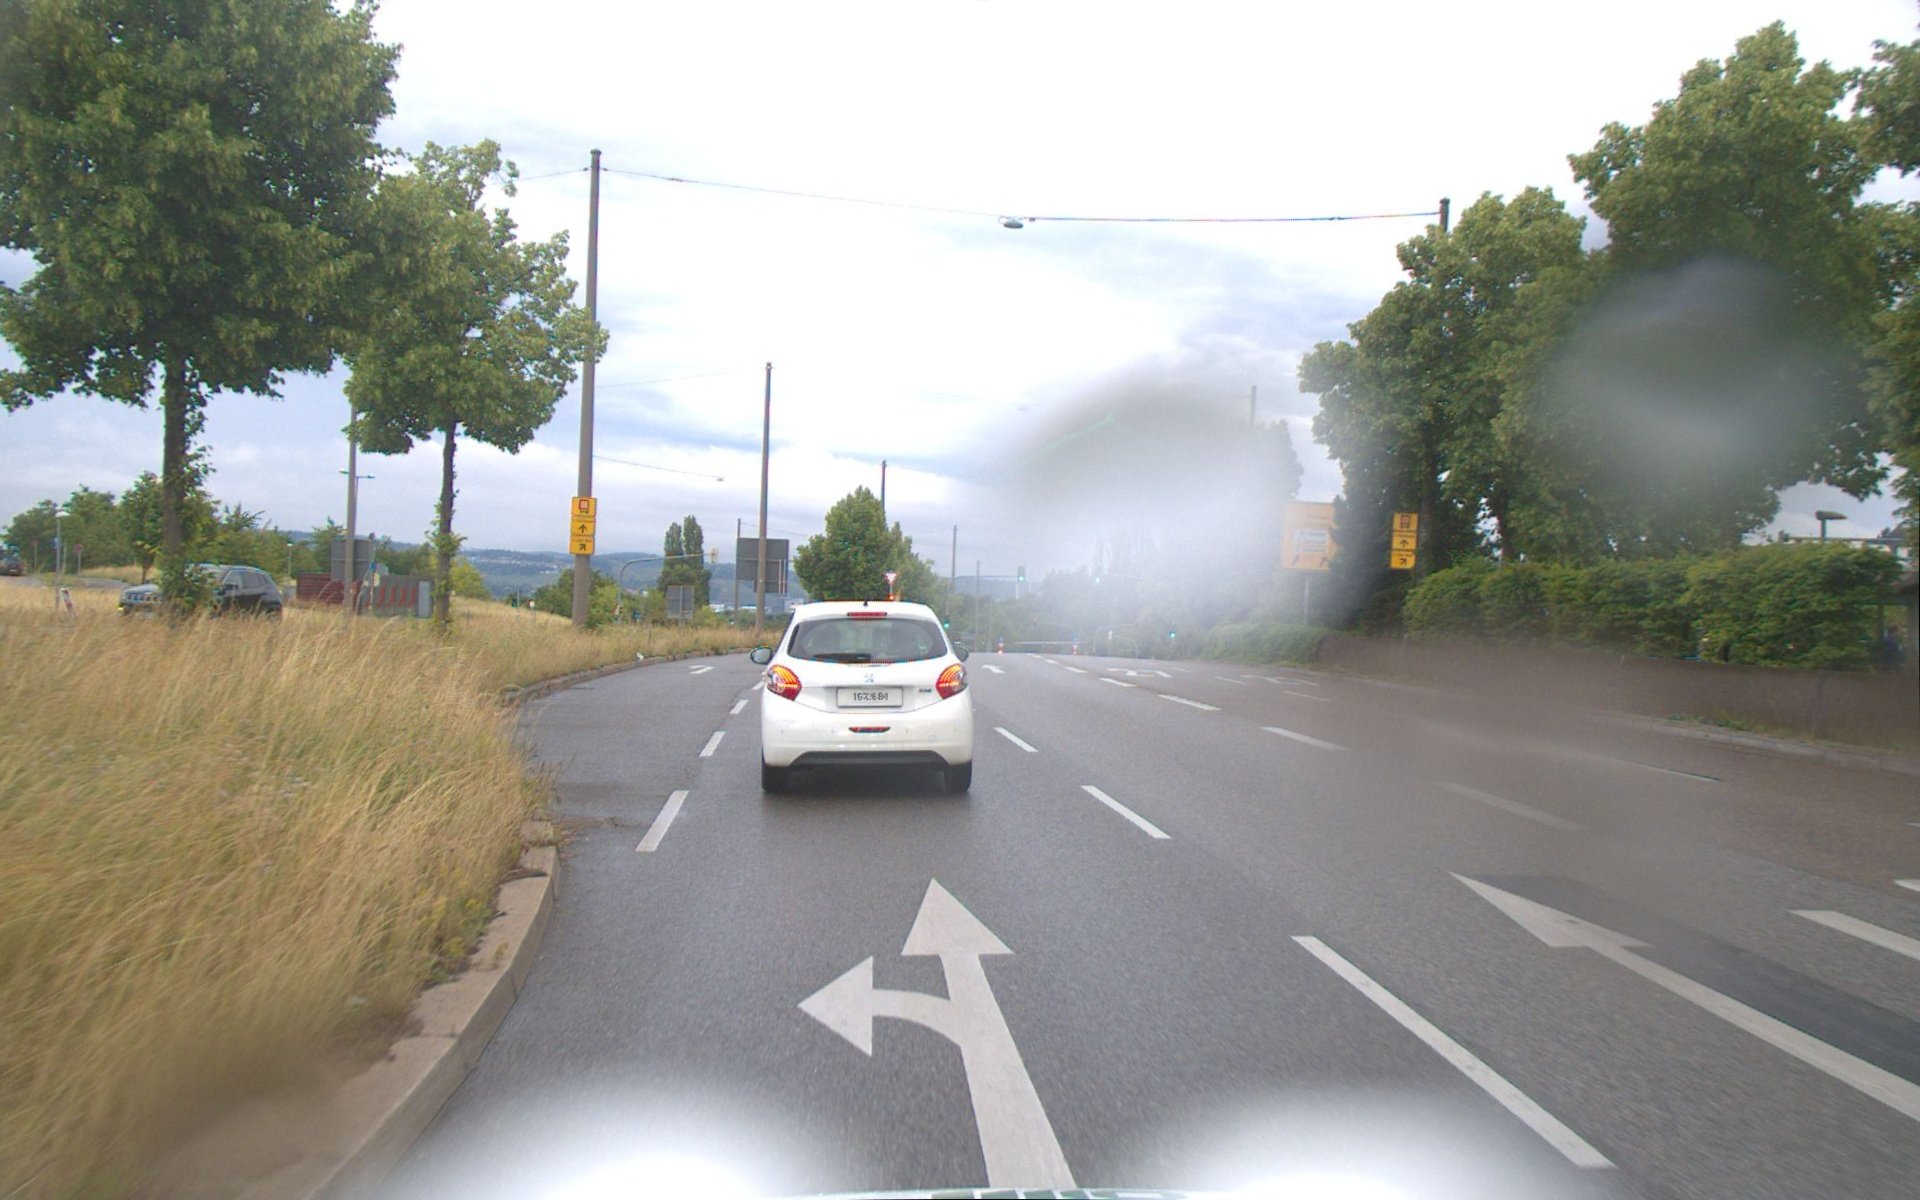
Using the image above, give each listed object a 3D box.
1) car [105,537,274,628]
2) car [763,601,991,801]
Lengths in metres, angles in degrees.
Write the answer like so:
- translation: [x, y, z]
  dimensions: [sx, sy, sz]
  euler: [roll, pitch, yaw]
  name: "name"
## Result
- translation: [-16.288, -0.350, 35.190]
  dimensions: [1.731, 1.780, 3.999]
  euler: [1, 0, -1]
  name: "car"
- translation: [-0.772, 0.754, 14.042]
  dimensions: [1.675, 1.465, 3.686]
  euler: [0, 0, -5]
  name: "car"
